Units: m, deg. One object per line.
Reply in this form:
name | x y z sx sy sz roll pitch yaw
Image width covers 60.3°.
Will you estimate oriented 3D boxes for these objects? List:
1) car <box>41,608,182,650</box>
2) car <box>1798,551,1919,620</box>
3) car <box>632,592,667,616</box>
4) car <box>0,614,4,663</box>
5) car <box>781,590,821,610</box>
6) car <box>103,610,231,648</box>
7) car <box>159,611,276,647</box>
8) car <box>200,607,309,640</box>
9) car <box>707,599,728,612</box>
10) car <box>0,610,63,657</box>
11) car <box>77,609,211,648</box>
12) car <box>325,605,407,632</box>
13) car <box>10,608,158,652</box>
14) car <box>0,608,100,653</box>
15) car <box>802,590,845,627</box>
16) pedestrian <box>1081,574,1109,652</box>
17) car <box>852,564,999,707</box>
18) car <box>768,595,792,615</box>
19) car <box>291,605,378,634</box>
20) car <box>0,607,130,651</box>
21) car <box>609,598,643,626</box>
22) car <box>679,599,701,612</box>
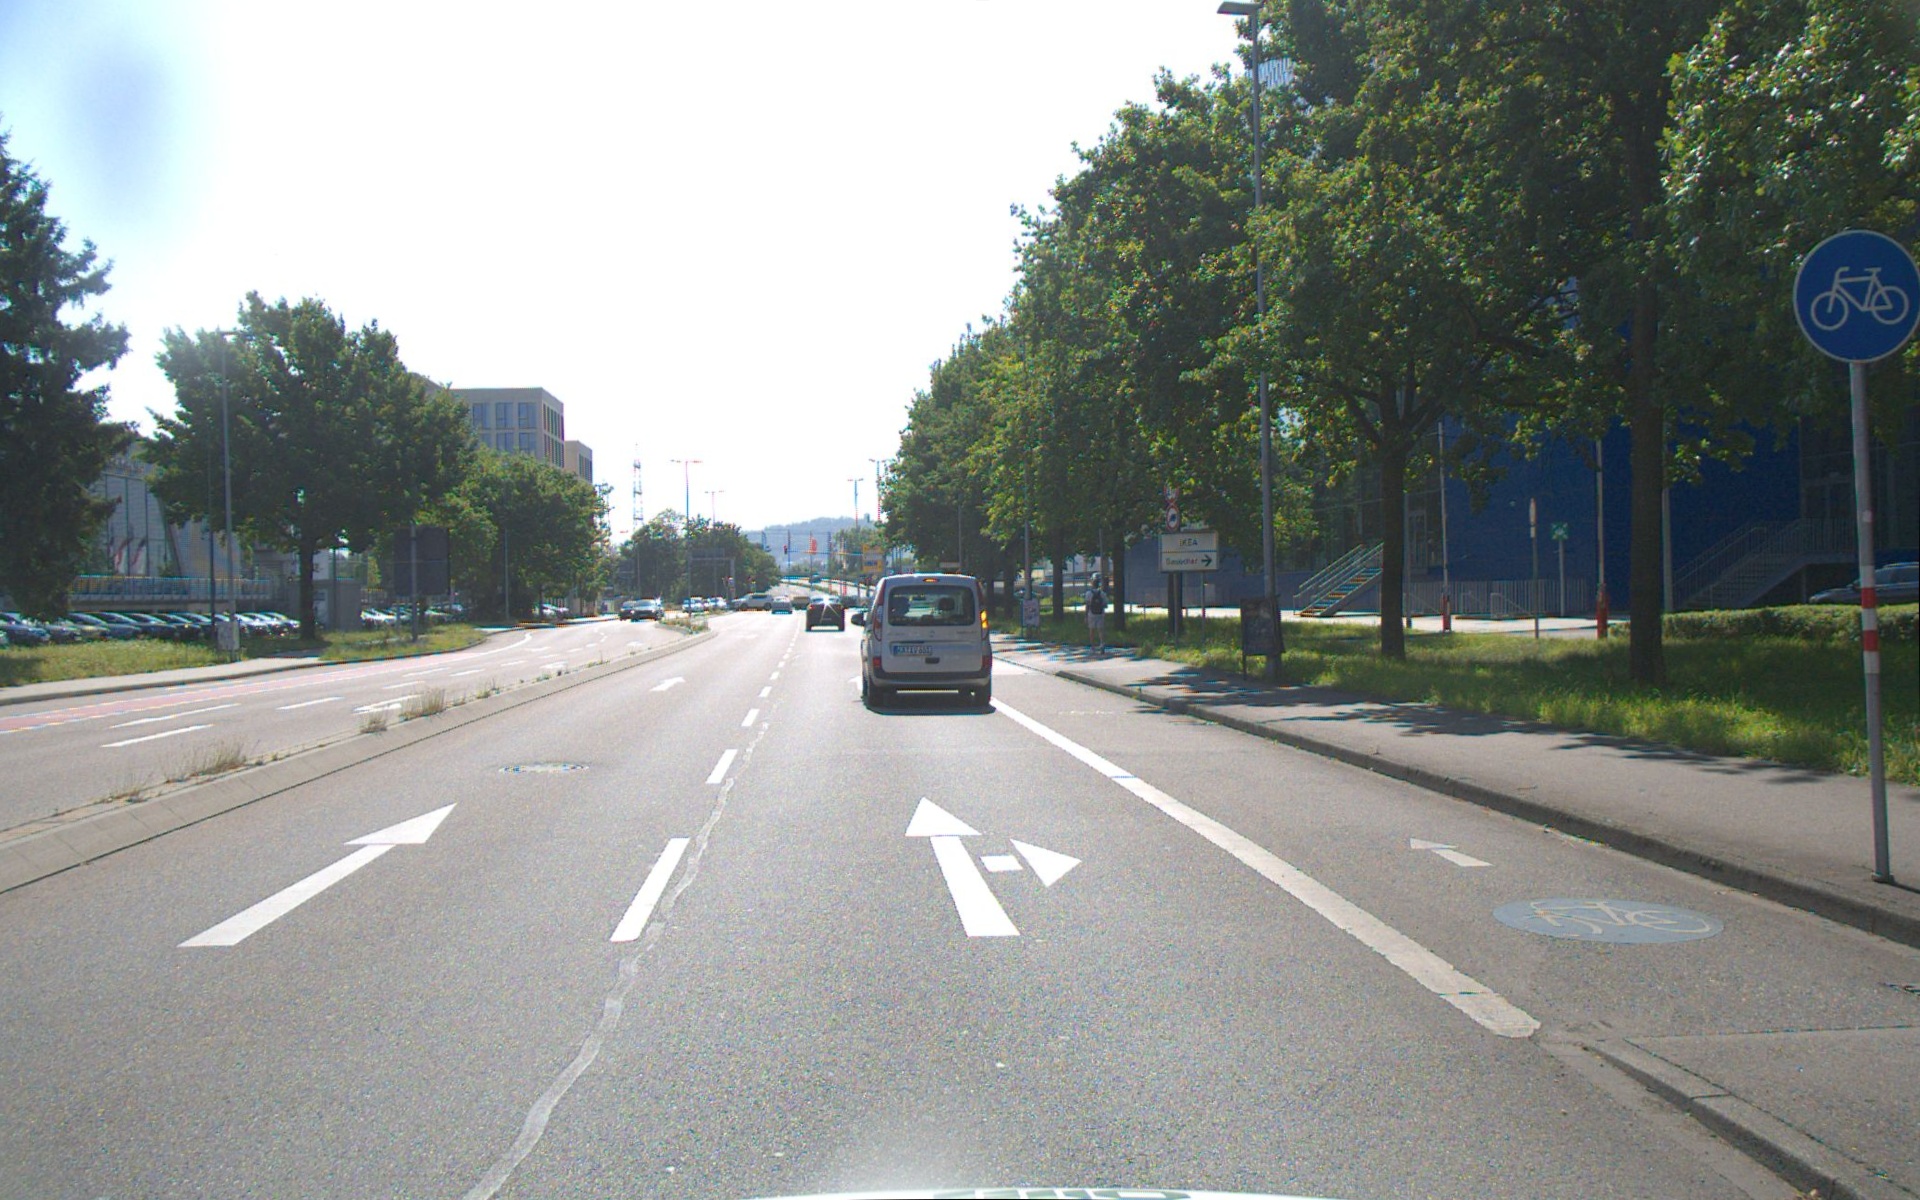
car | -31.396 1.056 61.304 4.181 1.374 1.953 -2 0 -3
car | 21.980 -0.335 38.258 1.886 1.546 4.329 -2 0 -30
car | -21.445 0.263 114.330 1.805 1.488 4.995 -4 0 -5
car | -29.407 1.164 46.227 4.181 1.405 1.953 -2 0 -3
car | -16.827 -0.049 174.976 3.927 2.048 1.989 0 1 -19
car | -32.058 1.170 66.968 4.181 1.374 1.953 -2 0 -3
car | -32.363 1.259 72.181 4.181 1.374 1.953 -2 0 -3
car | -32.665 1.063 76.702 4.181 1.374 1.953 -2 0 -3
car | -28.029 0.633 191.327 1.778 1.489 4.000 -2 0 0
car | -30.484 1.072 51.335 4.181 1.374 1.953 -2 0 -3
car | -31.587 1.085 64.102 4.181 1.374 1.953 -2 0 -3
car | -33.841 1.057 94.365 3.963 1.400 2.023 -2 0 -5
car | -31.188 1.056 58.991 4.181 1.374 1.953 -2 0 -3
car | -30.599 1.010 53.805 4.181 1.374 1.953 -2 0 -3
car | -6.547 0.373 79.745 1.771 1.668 4.457 -2 1 -2
pedestrian | 3.276 0.308 40.096 0.524 1.874 0.727 -2 0 -5
car | -0.598 0.465 24.267 1.868 1.861 4.176 -2 0 -5
car | -16.398 0.429 150.579 1.954 1.713 3.997 -2 0 -4
car | -33.442 1.047 88.511 3.909 1.400 1.998 -2 0 -5
car | -30.940 0.985 56.479 4.181 1.374 1.953 -2 0 -3
car | -25.676 0.907 127.280 1.954 2.048 3.998 1 1 -3
car | -31.033 0.632 189.874 1.853 1.489 4.000 -2 0 0
